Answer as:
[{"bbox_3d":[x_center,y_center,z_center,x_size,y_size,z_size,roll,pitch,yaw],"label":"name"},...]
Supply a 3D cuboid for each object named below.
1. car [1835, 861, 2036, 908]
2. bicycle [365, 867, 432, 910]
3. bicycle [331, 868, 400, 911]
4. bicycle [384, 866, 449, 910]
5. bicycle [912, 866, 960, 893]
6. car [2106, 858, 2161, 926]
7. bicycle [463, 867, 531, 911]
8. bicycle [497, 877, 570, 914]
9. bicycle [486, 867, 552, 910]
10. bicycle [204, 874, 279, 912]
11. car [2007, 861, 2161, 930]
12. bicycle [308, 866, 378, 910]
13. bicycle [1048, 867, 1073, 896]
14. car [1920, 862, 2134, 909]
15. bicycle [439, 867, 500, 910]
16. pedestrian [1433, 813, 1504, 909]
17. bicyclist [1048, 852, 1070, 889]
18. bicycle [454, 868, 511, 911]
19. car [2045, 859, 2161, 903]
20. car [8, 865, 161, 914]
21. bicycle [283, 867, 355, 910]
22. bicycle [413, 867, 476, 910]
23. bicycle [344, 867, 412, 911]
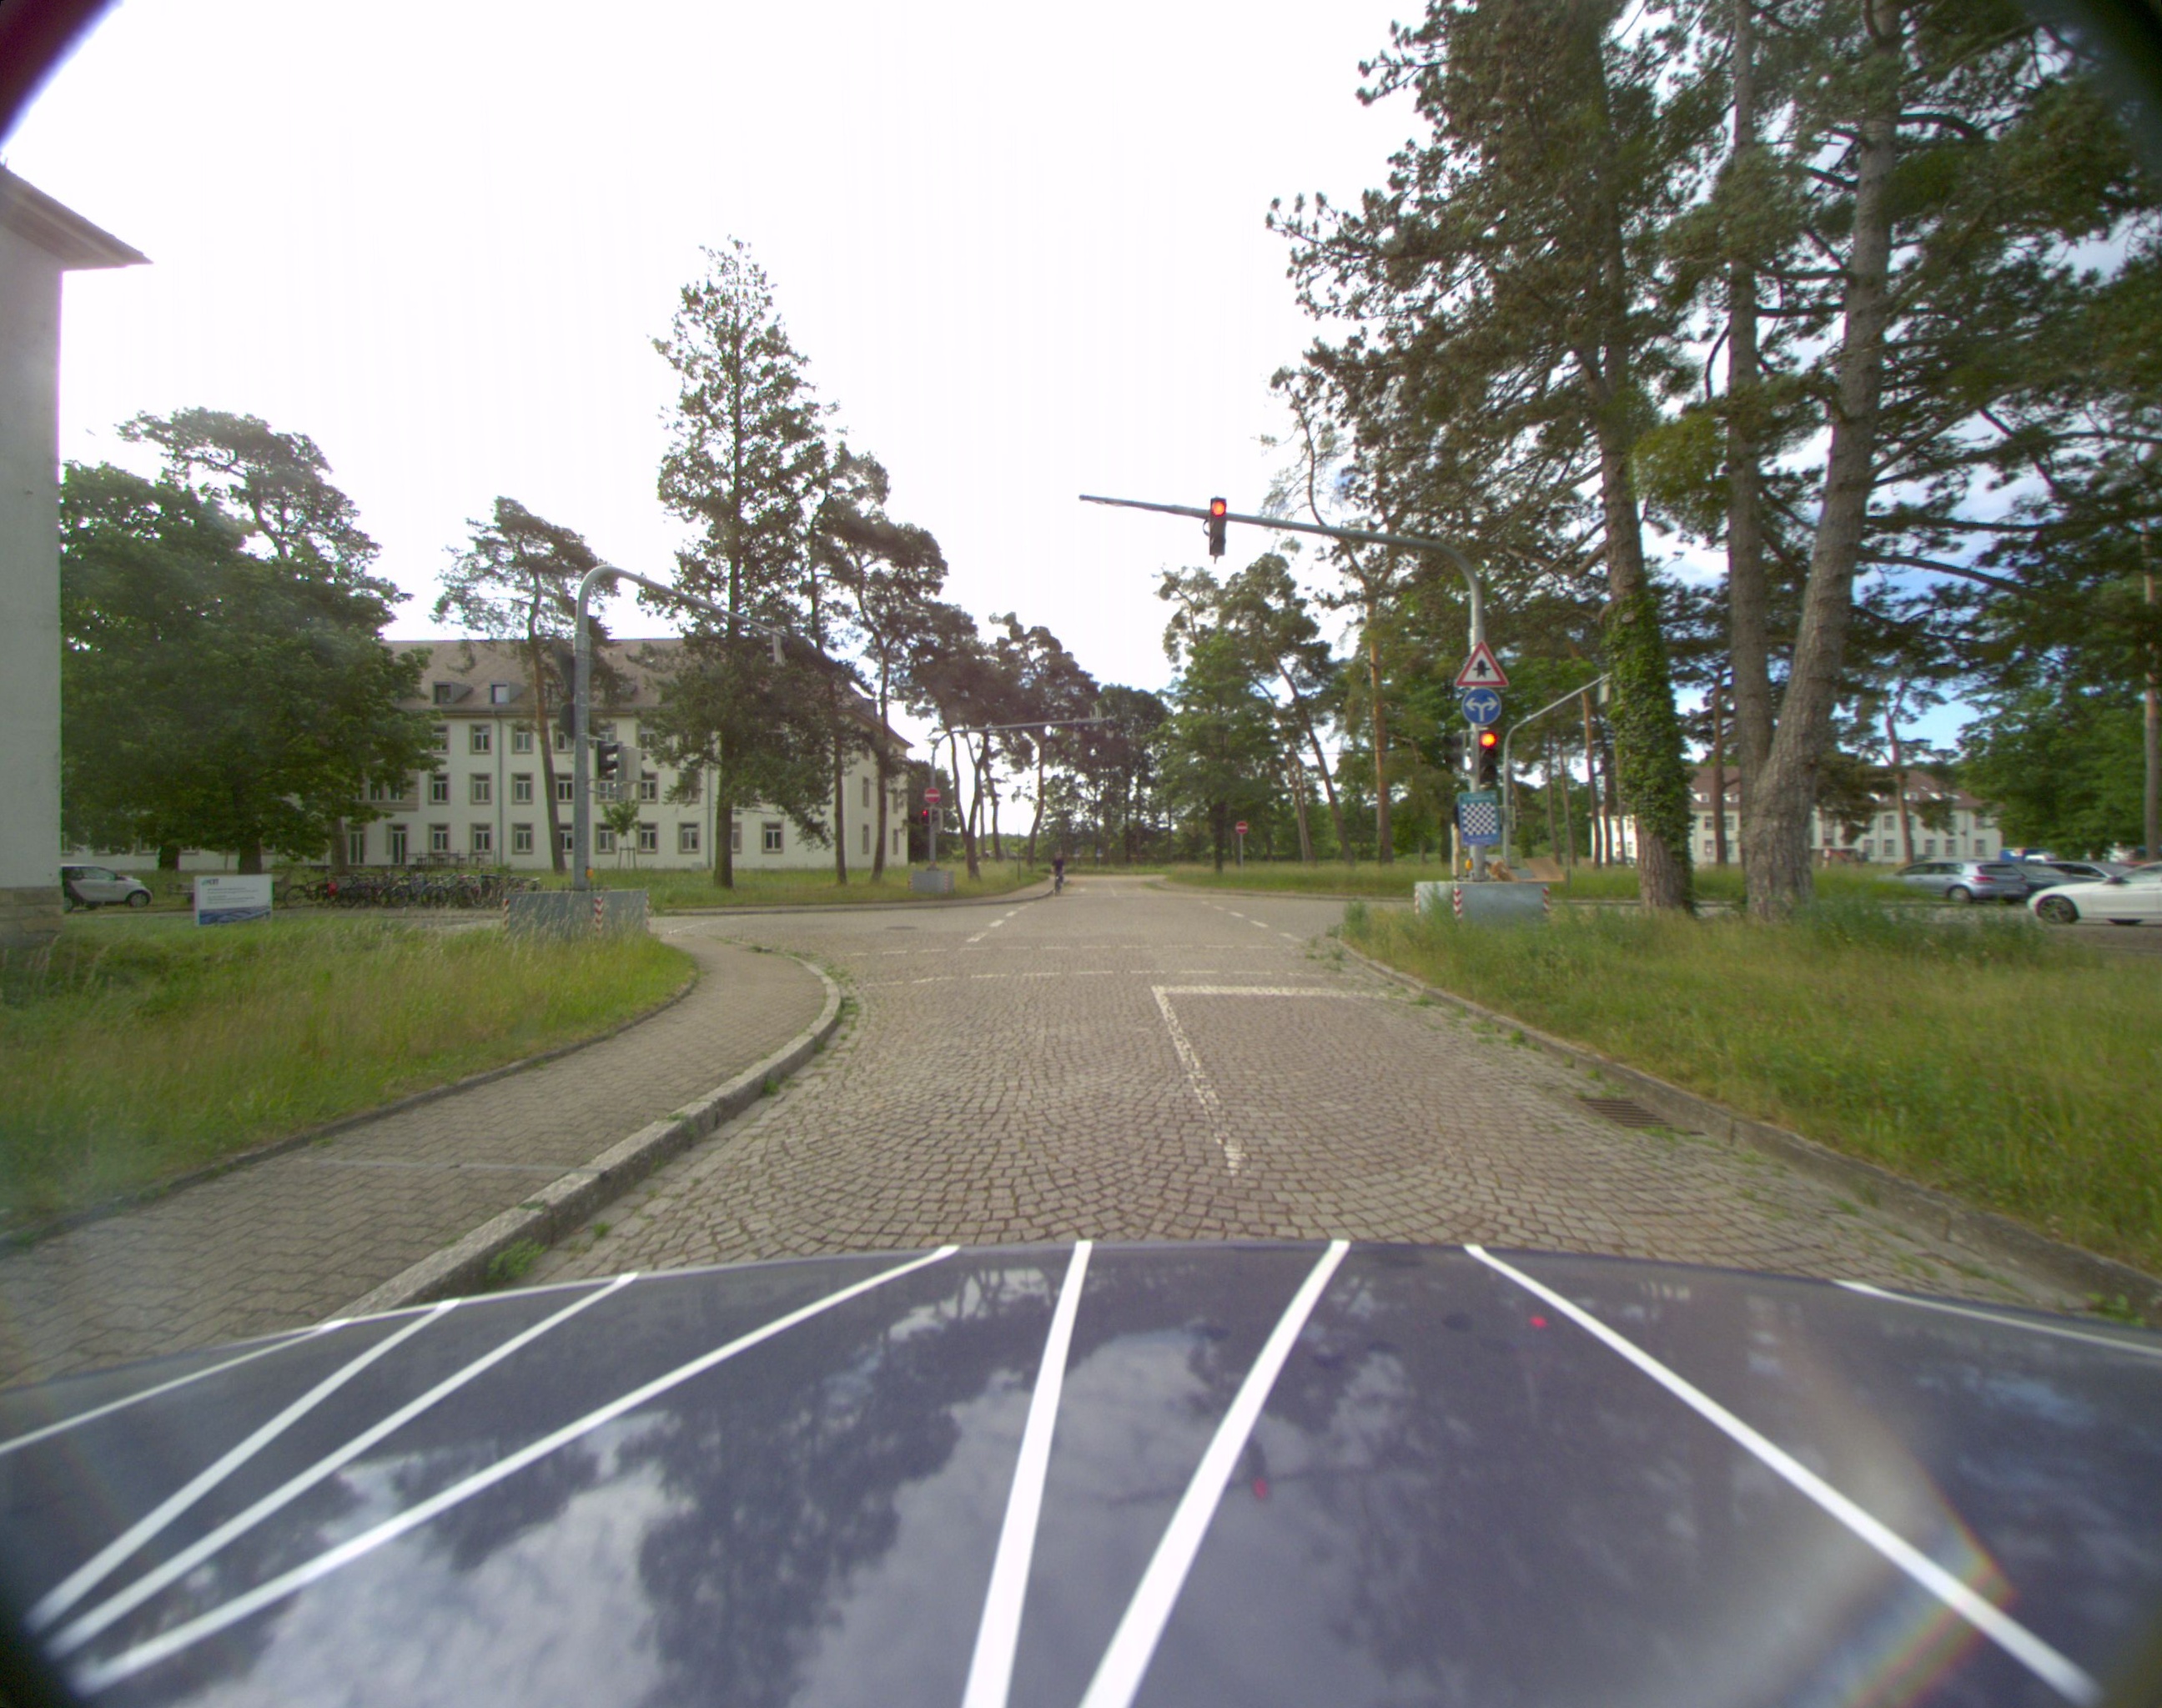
[{"bbox_3d":[30.585,1.091,27.452,1.841,1.537,4.583,0,-2,-7],"label":"car"},{"bbox_3d":[-22.010,1.086,24.552,0.572,1.324,1.837,0,0,-4],"label":"bicycle"},{"bbox_3d":[-23.338,1.122,24.826,0.572,1.324,1.837,0,0,-4],"label":"bicycle"},{"bbox_3d":[-21.445,1.070,24.570,0.572,1.324,1.837,0,0,-4],"label":"bicycle"},{"bbox_3d":[-5.845,1.024,30.670,1.836,1.079,0.572,0,2,-1],"label":"bicycle"},{"bbox_3d":[25.989,0.830,16.260,1.840,1.568,4.585,0,-2,-1],"label":"car"},{"bbox_3d":[-18.894,1.109,24.627,0.572,1.324,1.839,0,0,9],"label":"bicycle"},{"bbox_3d":[-16.595,1.254,23.038,1.836,1.079,0.573,0,2,4],"label":"bicycle"},{"bbox_3d":[-18.265,1.094,24.732,0.572,1.324,1.839,0,0,9],"label":"bicycle"},{"bbox_3d":[-27.773,1.263,25.179,0.572,1.180,1.837,0,0,-5],"label":"bicycle"},{"bbox_3d":[23.377,0.870,16.058,1.840,1.441,4.656,0,-2,-1],"label":"car"},{"bbox_3d":[-23.936,1.079,24.685,0.572,1.324,1.837,0,0,-4],"label":"bicycle"},{"bbox_3d":[-0.932,1.222,34.659,0.963,1.268,2.164,0,0,3],"label":"bicycle"},{"bbox_3d":[33.302,1.098,27.007,1.840,1.512,4.585,0,-2,-1],"label":"car"},{"bbox_3d":[-19.824,1.091,24.664,0.572,1.324,1.837,0,0,-4],"label":"bicycle"},{"bbox_3d":[6.306,0.117,12.407,0.882,1.508,0.822,0,0,15],"label":"pedestrian"},{"bbox_3d":[-0.999,0.745,34.623,0.963,1.625,0.918,0,0,3],"label":"bicyclist"},{"bbox_3d":[-19.391,1.126,24.646,0.482,1.324,1.837,0,0,-4],"label":"bicycle"},{"bbox_3d":[38.367,0.960,27.185,1.840,1.549,4.585,0,-2,-1],"label":"car"},{"bbox_3d":[-32.774,1.133,25.086,1.475,1.500,2.693,0,0,1],"label":"car"},{"bbox_3d":[-24.648,1.090,24.625,0.572,1.324,1.837,0,0,-4],"label":"bicycle"},{"bbox_3d":[-20.590,1.094,24.612,0.572,1.324,1.837,0,0,-4],"label":"bicycle"},{"bbox_3d":[-22.732,1.106,24.615,0.572,1.324,1.837,0,0,-4],"label":"bicycle"}]
